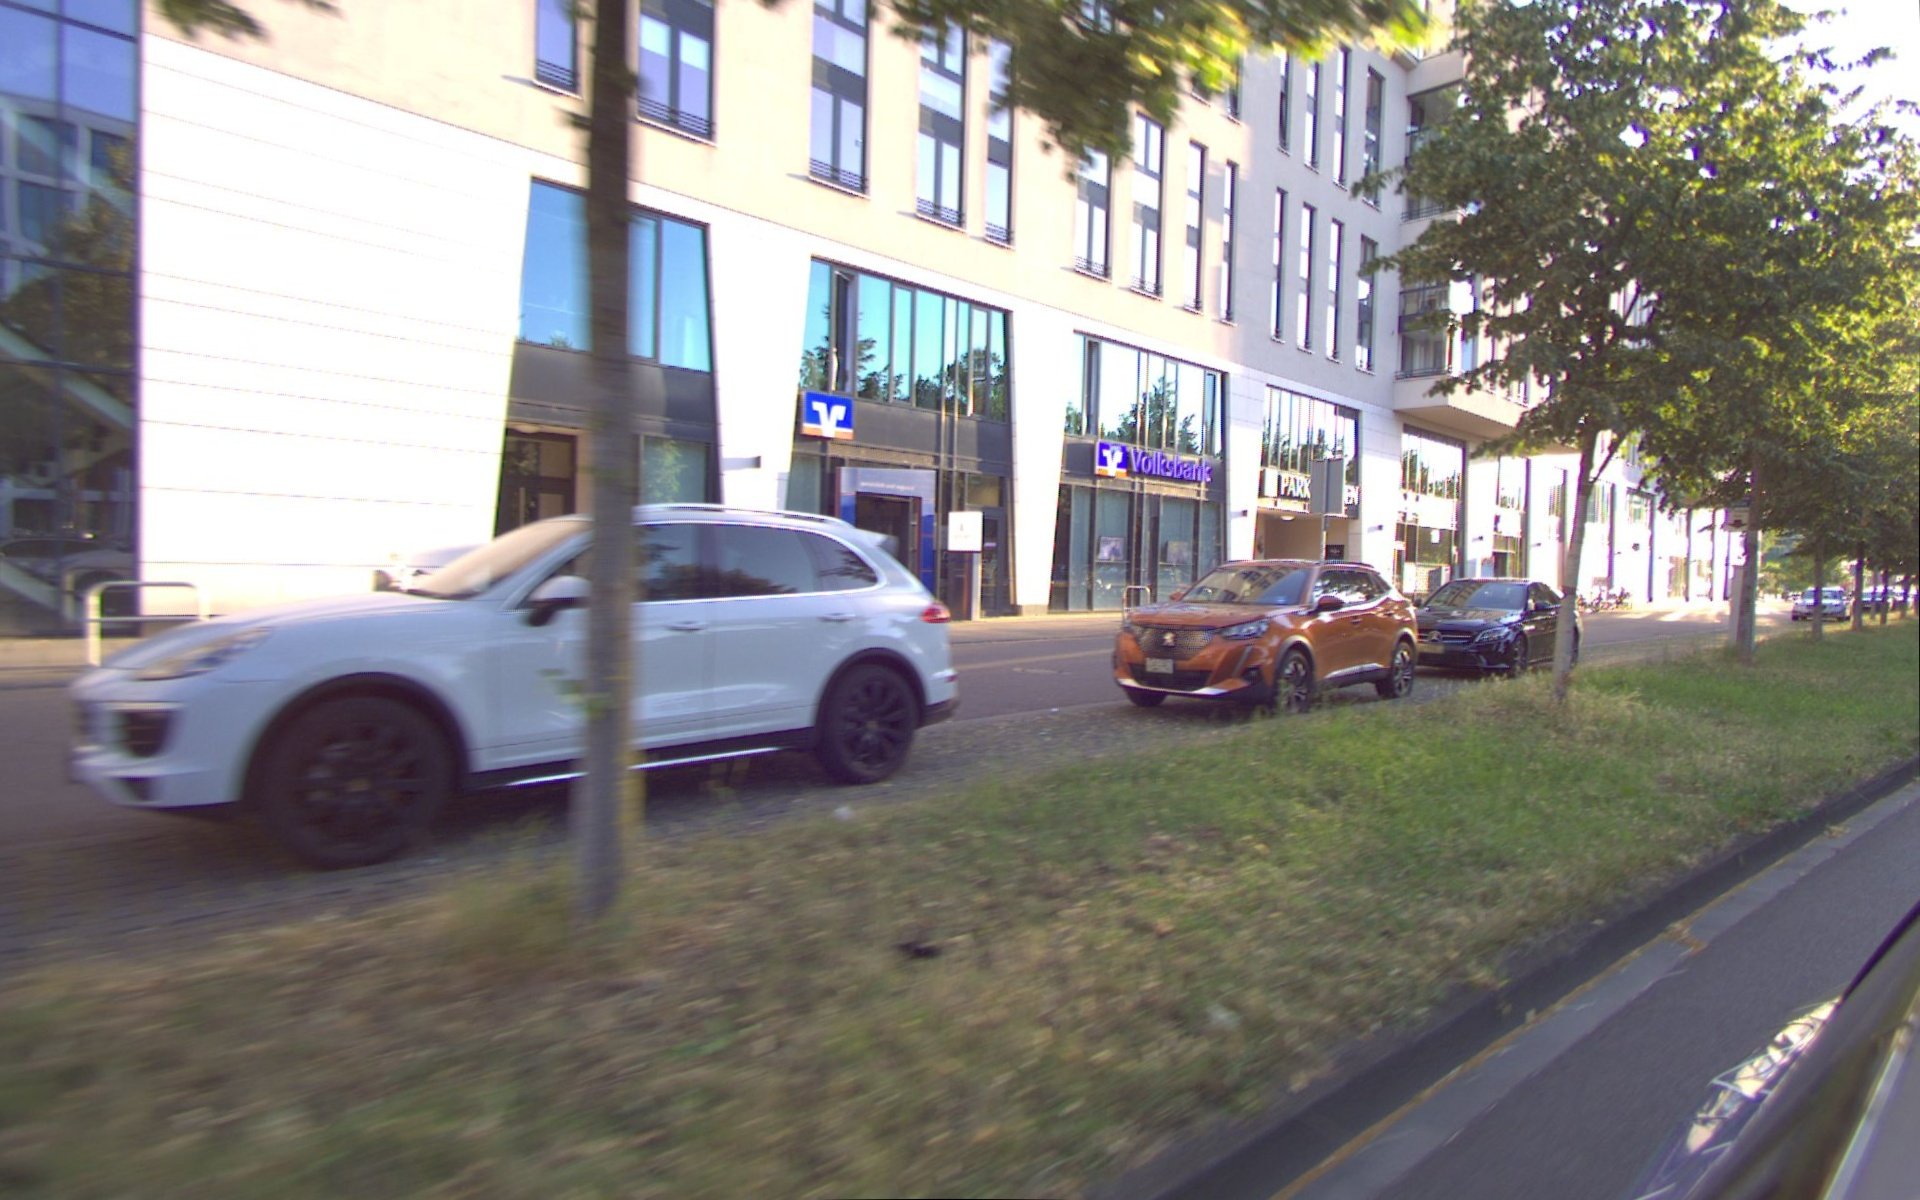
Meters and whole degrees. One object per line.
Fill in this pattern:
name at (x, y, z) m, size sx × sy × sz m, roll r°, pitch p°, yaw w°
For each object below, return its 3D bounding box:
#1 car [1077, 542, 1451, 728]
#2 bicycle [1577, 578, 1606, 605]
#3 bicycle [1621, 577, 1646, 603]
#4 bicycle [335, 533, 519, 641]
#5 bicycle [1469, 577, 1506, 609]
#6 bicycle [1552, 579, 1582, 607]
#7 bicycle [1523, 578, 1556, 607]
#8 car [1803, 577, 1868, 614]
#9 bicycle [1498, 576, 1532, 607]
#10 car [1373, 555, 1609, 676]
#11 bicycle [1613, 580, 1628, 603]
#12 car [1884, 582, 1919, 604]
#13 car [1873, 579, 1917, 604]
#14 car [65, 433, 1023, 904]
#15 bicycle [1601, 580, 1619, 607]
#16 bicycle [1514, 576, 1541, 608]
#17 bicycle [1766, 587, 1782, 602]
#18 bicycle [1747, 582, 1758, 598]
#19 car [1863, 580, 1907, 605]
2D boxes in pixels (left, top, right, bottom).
car at (3.354, 0.249, 10.634) m, size 4.409 × 1.549 × 1.856 m, roll -1°, pitch 1°, yaw -44°
bicycle at (26.496, -0.338, 42.441) m, size 1.826 × 1.073 × 0.534 m, roll 0°, pitch 4°, yaw -44°
bicycle at (32.337, -0.468, 48.567) m, size 1.751 × 1.178 × 0.539 m, roll 0°, pitch 4°, yaw -43°
bicycle at (-6.062, -0.142, 11.540) m, size 1.797 × 1.138 × 0.573 m, roll 1°, pitch 3°, yaw -32°
bicycle at (18.417, -0.254, 35.332) m, size 1.826 × 1.073 × 0.534 m, roll 0°, pitch 4°, yaw -44°
bicycle at (24.560, -0.281, 40.931) m, size 1.826 × 1.073 × 0.534 m, roll 0°, pitch 4°, yaw -44°
bicycle at (22.266, -0.279, 38.840) m, size 1.826 × 1.073 × 0.534 m, roll 0°, pitch 4°, yaw -44°
car at (39.234, -0.201, 45.315) m, size 4.746 × 1.519 × 1.810 m, roll 0°, pitch 2°, yaw -45°
bicycle at (20.262, -0.314, 36.955) m, size 1.826 × 1.074 × 0.534 m, roll 0°, pitch 2°, yaw -44°
car at (8.393, 0.149, 15.778) m, size 1.944 × 1.568 × 4.735 m, roll 4°, pitch 3°, yaw 44°
bicycle at (31.958, -0.430, 48.934) m, size 0.531 × 1.073 × 1.834 m, roll 5°, pitch 4°, yaw 34°
car at (68.677, -0.506, 73.546) m, size 4.927 × 1.519 × 1.922 m, roll 0°, pitch 2°, yaw -45°
car at (63.439, -0.566, 68.622) m, size 4.741 × 1.644 × 1.954 m, roll 0°, pitch 0°, yaw -44°
car at (-2.077, 0.211, 6.176) m, size 5.071 × 1.736 × 1.954 m, roll -1°, pitch 1°, yaw -42°
bicycle at (27.743, -0.298, 43.183) m, size 0.531 × 1.073 × 1.834 m, roll 5°, pitch 4°, yaw 34°
bicycle at (20.129, -0.302, 35.859) m, size 0.532 × 1.073 × 1.757 m, roll 5°, pitch 4°, yaw 37°
bicycle at (59.836, -0.426, 74.404) m, size 2.225 × 1.046 × 0.620 m, roll -1°, pitch 3°, yaw -45°
bicycle at (55.656, -0.714, 71.068) m, size 0.533 × 1.072 × 1.589 m, roll 3°, pitch 3°, yaw 41°
car at (57.935, -0.460, 63.396) m, size 4.161 × 1.519 × 1.726 m, roll 0°, pitch 1°, yaw -43°
